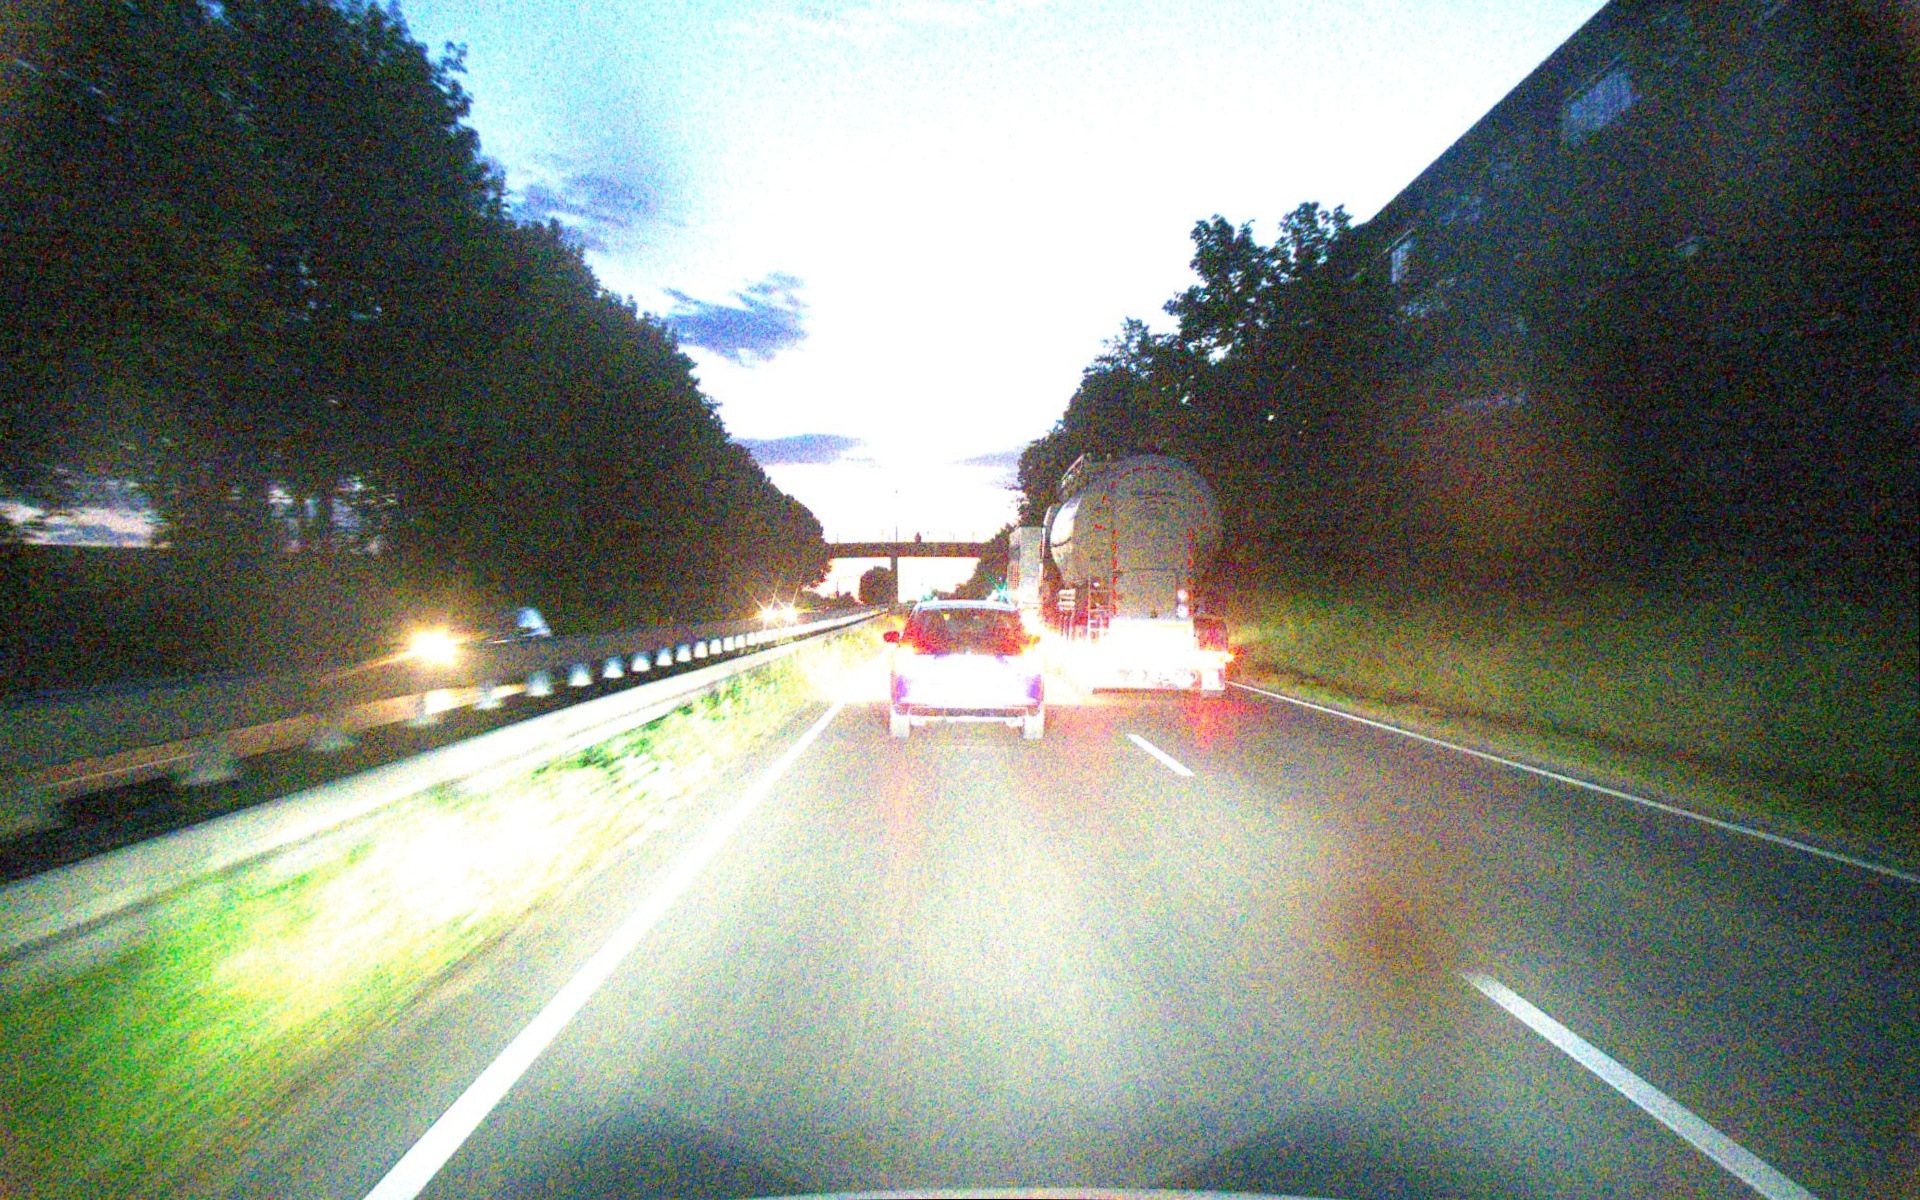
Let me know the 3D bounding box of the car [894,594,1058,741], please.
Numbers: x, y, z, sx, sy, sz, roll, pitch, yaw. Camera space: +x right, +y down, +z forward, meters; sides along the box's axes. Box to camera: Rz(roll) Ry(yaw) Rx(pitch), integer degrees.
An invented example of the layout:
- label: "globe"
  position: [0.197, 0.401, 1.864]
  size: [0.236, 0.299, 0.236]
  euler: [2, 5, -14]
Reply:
- label: "car"
  position: [0.130, 0.702, 18.855]
  size: [1.661, 1.478, 3.913]
  euler: [1, 0, -1]

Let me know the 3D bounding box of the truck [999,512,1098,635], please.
- label: "truck"
  position: [3.206, -0.855, 63.130]
  size: [2.824, 4.178, 12.680]
  euler: [1, 0, -1]

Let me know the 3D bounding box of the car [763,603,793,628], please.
- label: "car"
  position: [-11.669, 0.976, 106.159]
  size: [1.584, 1.533, 3.868]
  euler: [1, 0, -1]

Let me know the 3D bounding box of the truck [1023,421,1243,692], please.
- label: "truck"
  position: [2.950, -0.634, 32.318]
  size: [2.633, 4.178, 13.137]
  euler: [1, 0, -1]

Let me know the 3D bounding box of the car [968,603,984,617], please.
- label: "car"
  position: [1.753, 1.076, 182.018]
  size: [1.661, 1.478, 3.913]
  euler: [1, 0, -1]

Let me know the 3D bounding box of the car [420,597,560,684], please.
- label: "car"
  position: [-9.308, 0.751, 33.073]
  size: [1.648, 1.615, 4.166]
  euler: [1, 0, -1]
